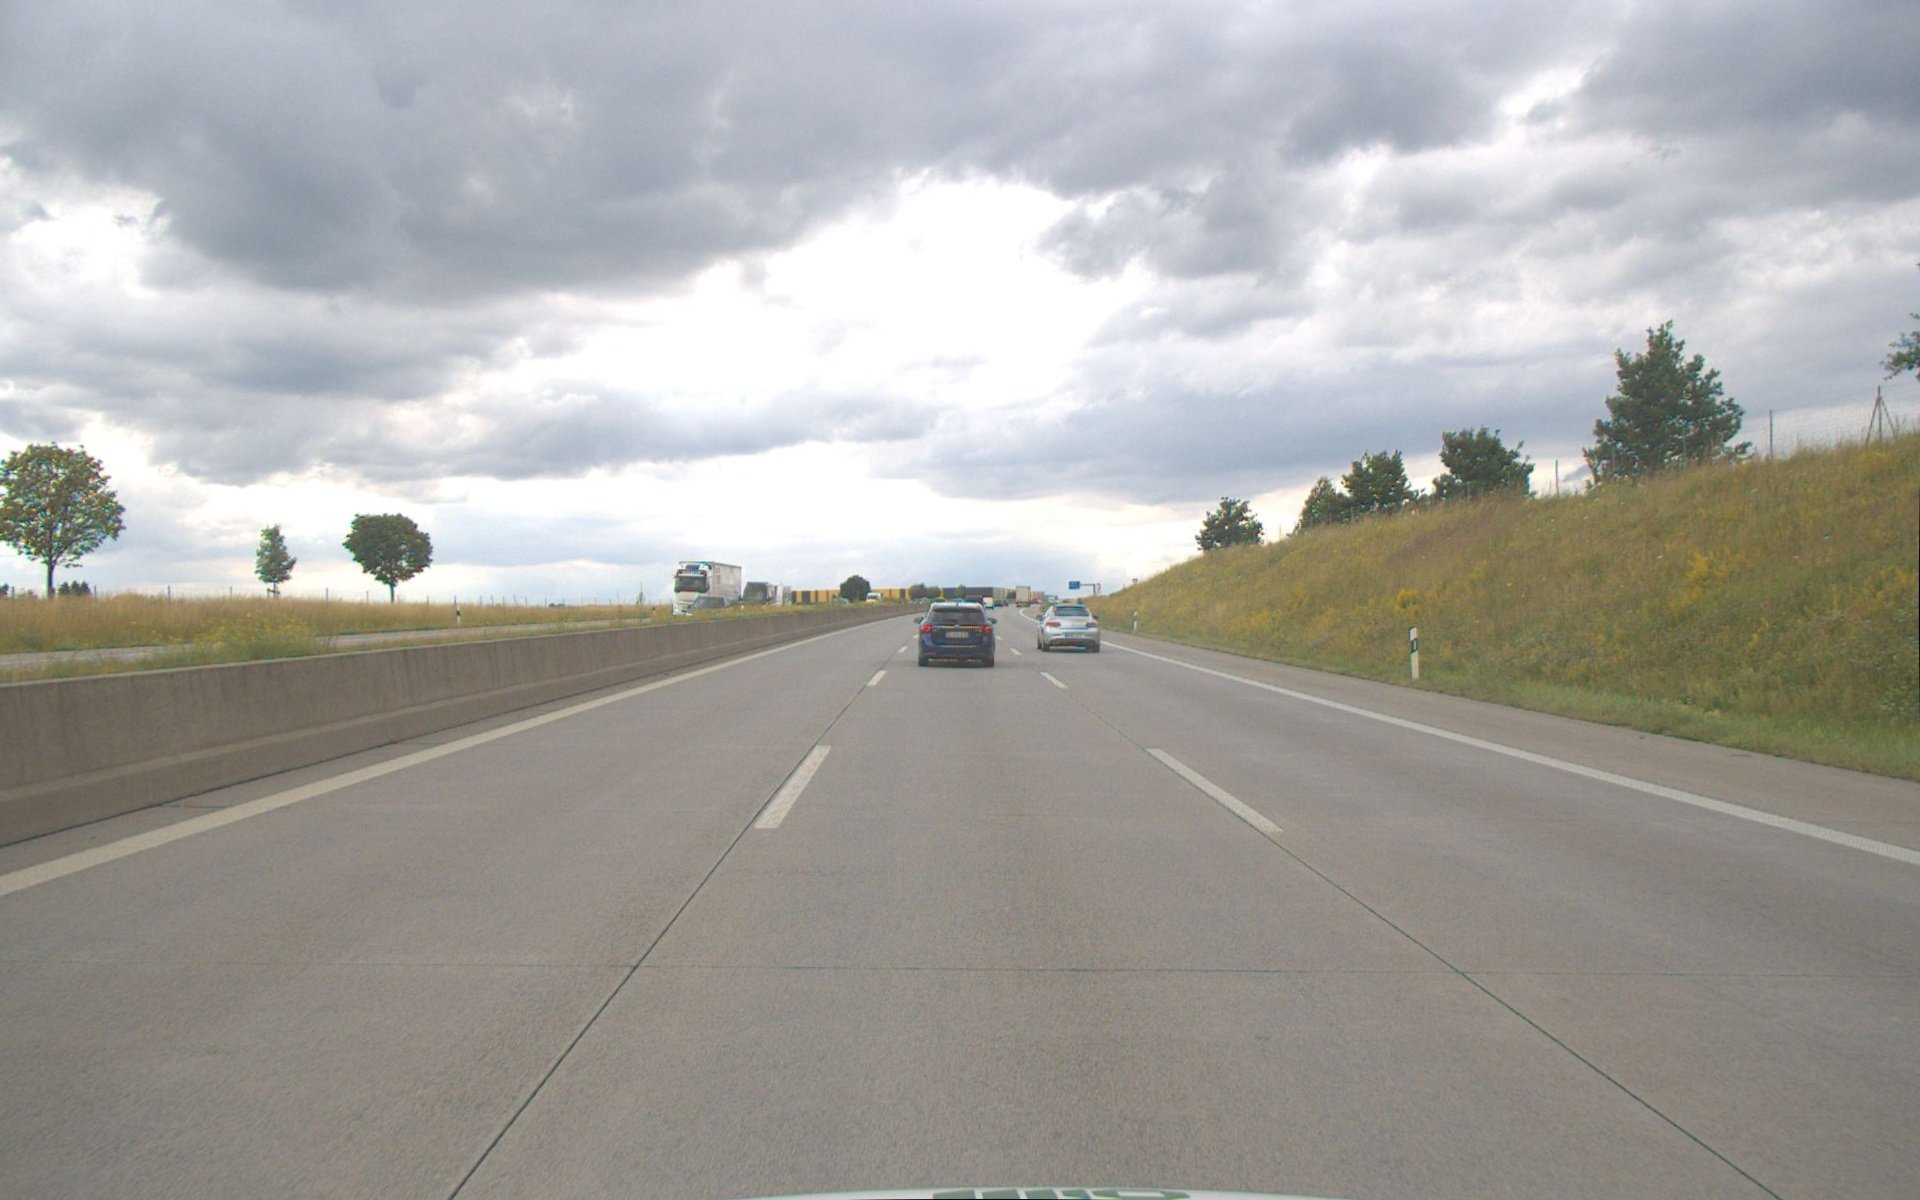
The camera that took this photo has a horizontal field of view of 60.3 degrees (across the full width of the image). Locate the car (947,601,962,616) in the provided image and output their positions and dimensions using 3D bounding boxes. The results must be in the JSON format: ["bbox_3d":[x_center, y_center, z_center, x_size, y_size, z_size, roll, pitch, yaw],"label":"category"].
[{"bbox_3d":[-0.866,1.240,238.661,1.954,2.049,3.997,1,-1,-3],"label":"car"}]

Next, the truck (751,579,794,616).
[{"bbox_3d":[-14.729,-0.192,130.443,2.562,2.773,6.919,1,0,0],"label":"truck"}]

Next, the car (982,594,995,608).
[{"bbox_3d":[4.389,0.108,252.272,1.952,2.049,4.001,1,-1,2],"label":"car"}]

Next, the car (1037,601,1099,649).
[{"bbox_3d":[3.320,0.767,51.394,1.751,1.428,4.222,0,0,2],"label":"car"}]

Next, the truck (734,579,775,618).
[{"bbox_3d":[-15.110,-0.130,121.940,2.205,2.773,7.125,1,0,-1],"label":"truck"}]

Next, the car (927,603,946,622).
[{"bbox_3d":[-2.560,1.404,181.206,2.005,2.049,3.999,1,-1,-1],"label":"car"}]

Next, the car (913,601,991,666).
[{"bbox_3d":[-0.172,0.751,38.639,1.738,1.438,4.000,0,0,0],"label":"car"}]

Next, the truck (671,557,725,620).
[{"bbox_3d":[-18.695,-0.777,118.237,2.782,4.330,6.091,1,-1,0],"label":"truck"}]

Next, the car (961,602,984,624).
[{"bbox_3d":[1.170,1.216,154.444,1.953,2.049,3.998,1,-1,-2],"label":"car"}]
